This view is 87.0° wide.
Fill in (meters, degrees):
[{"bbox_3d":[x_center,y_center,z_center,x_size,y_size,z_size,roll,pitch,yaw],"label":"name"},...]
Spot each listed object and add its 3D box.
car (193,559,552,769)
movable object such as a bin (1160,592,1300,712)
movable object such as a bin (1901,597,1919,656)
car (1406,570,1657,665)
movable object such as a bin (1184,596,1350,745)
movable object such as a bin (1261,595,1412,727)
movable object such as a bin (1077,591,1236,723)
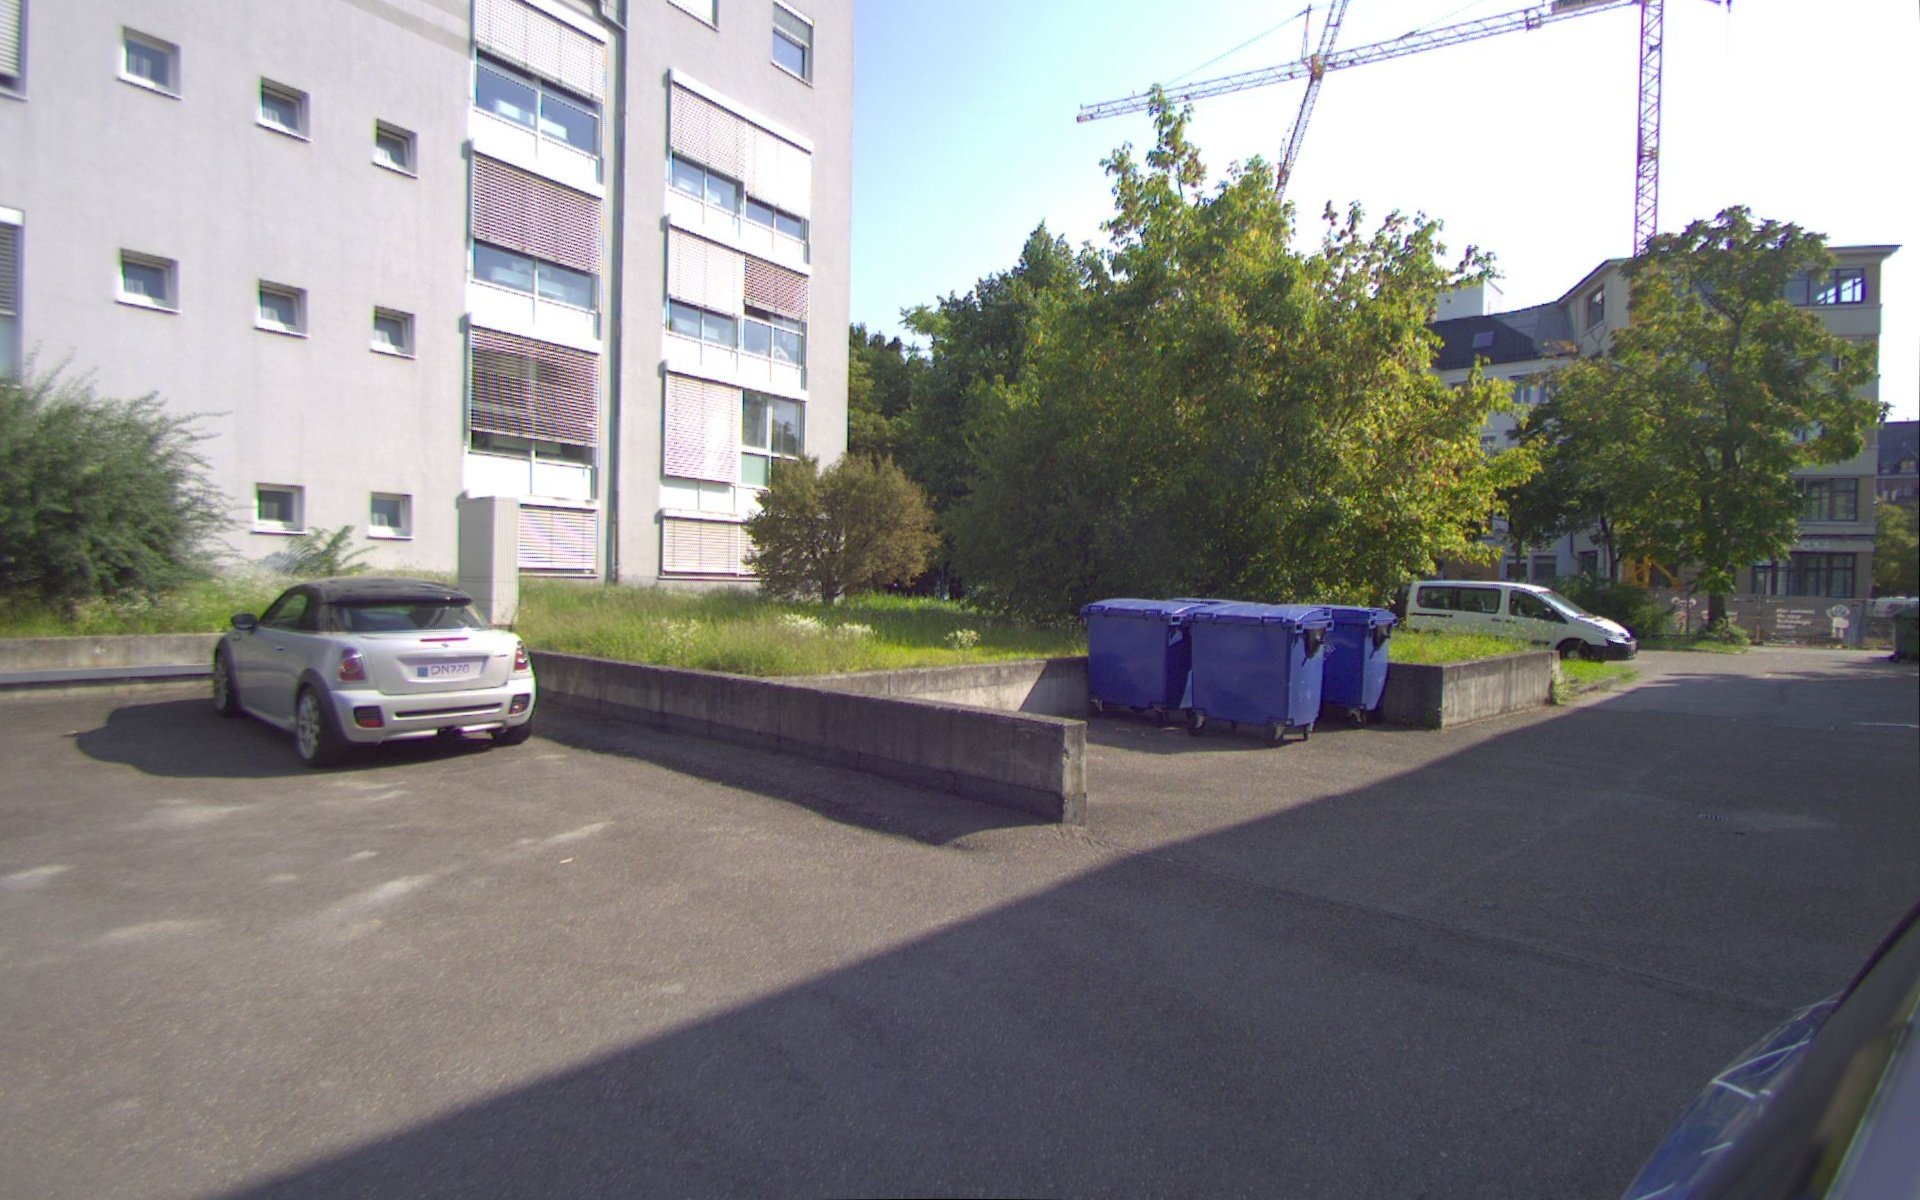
[{"bbox_3d":[-5.291,0.409,8.948,3.566,1.455,1.635,3,1,40],"label":"car"},{"bbox_3d":[3.320,0.590,12.440,1.197,1.344,1.255,2,1,43],"label":"movable object such as a bin"},{"bbox_3d":[24.901,0.675,25.648,1.521,1.484,1.255,2,1,44],"label":"movable object such as a bin"},{"bbox_3d":[13.312,0.322,23.808,1.878,1.955,4.781,1,1,-45],"label":"car"},{"bbox_3d":[3.150,0.656,10.355,1.209,1.368,1.256,2,1,41],"label":"movable object such as a bin"},{"bbox_3d":[4.268,0.637,11.455,1.197,1.344,1.255,2,1,43],"label":"movable object such as a bin"},{"bbox_3d":[2.202,0.586,11.324,1.254,1.344,1.255,2,1,43],"label":"movable object such as a bin"}]
